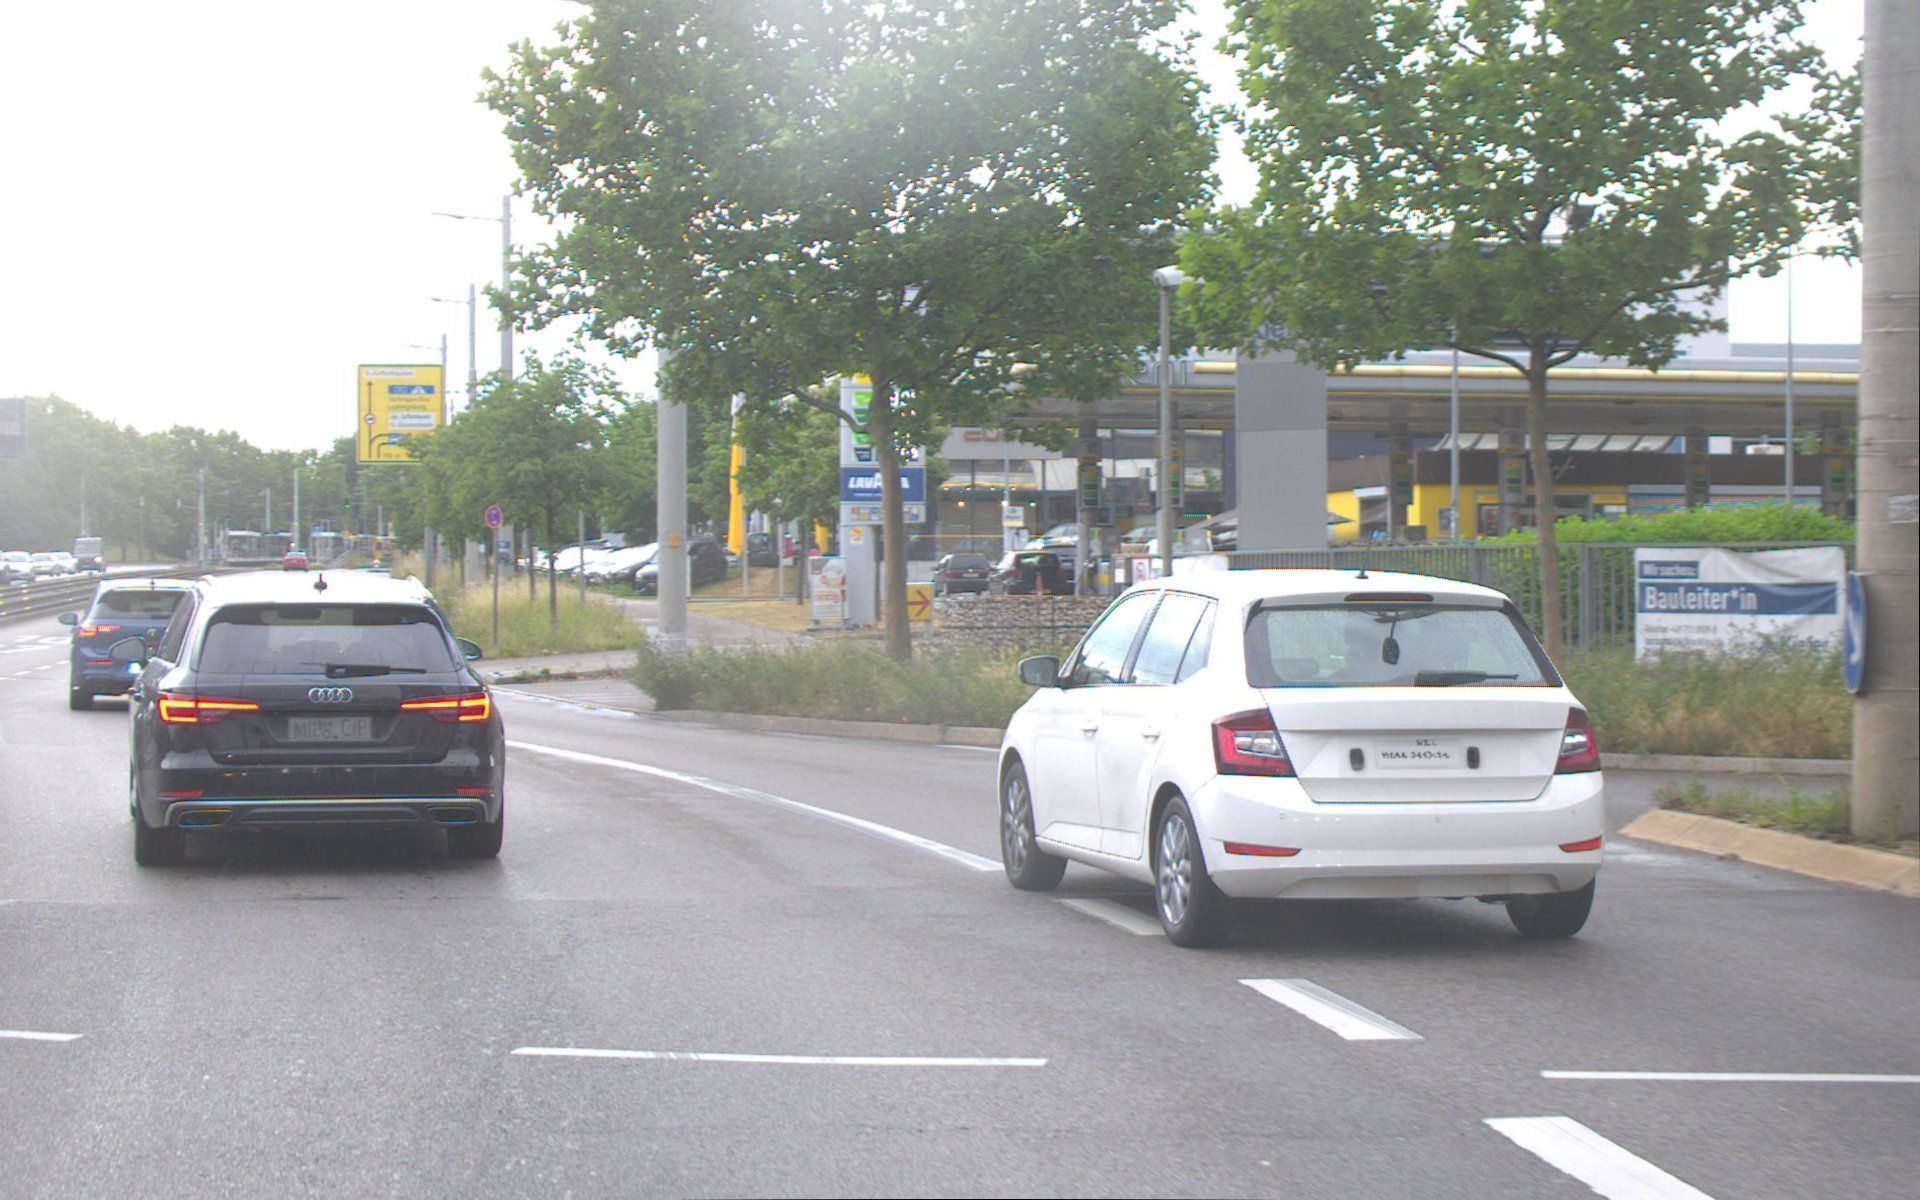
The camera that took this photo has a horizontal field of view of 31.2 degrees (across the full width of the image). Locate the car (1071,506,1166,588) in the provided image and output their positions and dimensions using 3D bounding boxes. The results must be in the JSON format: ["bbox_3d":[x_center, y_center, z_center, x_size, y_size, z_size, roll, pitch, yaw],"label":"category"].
[{"bbox_3d":[4.053,-1.345,88.367,1.678,2.007,3.543,2,0,-9],"label":"car"}]

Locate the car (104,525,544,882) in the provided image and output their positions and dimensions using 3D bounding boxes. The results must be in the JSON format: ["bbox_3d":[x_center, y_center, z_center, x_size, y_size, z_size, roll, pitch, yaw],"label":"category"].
[{"bbox_3d":[-3.420,0.437,17.902,1.993,1.631,4.001,0,1,-14],"label":"car"}]

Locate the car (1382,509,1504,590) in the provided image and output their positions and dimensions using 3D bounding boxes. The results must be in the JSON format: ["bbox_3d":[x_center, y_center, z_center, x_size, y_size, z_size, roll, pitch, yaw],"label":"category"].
[{"bbox_3d":[12.731,-1.329,90.800,1.869,2.007,3.775,2,0,-14],"label":"car"}]

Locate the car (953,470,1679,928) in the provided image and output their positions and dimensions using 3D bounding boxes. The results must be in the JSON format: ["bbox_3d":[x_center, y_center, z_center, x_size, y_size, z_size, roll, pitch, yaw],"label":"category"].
[{"bbox_3d":[1.323,0.365,14.558,1.828,1.650,4.001,1,0,-13],"label":"car"}]

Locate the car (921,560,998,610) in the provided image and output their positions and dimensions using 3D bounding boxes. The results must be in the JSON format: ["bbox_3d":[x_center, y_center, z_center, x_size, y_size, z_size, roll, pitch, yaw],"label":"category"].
[{"bbox_3d":[-0.037,-0.505,111.673,1.791,1.586,4.001,0,1,-11],"label":"car"}]

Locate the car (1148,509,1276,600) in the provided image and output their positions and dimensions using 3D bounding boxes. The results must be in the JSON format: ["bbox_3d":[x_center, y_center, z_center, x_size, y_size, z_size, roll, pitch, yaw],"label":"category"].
[{"bbox_3d":[5.790,-1.047,79.409,1.993,2.025,4.001,-1,1,-10],"label":"car"}]

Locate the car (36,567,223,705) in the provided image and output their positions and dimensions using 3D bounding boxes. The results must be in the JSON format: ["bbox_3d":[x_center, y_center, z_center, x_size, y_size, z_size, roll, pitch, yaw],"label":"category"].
[{"bbox_3d":[-9.301,0.381,38.753,1.893,1.460,3.910,1,0,-12],"label":"car"}]
